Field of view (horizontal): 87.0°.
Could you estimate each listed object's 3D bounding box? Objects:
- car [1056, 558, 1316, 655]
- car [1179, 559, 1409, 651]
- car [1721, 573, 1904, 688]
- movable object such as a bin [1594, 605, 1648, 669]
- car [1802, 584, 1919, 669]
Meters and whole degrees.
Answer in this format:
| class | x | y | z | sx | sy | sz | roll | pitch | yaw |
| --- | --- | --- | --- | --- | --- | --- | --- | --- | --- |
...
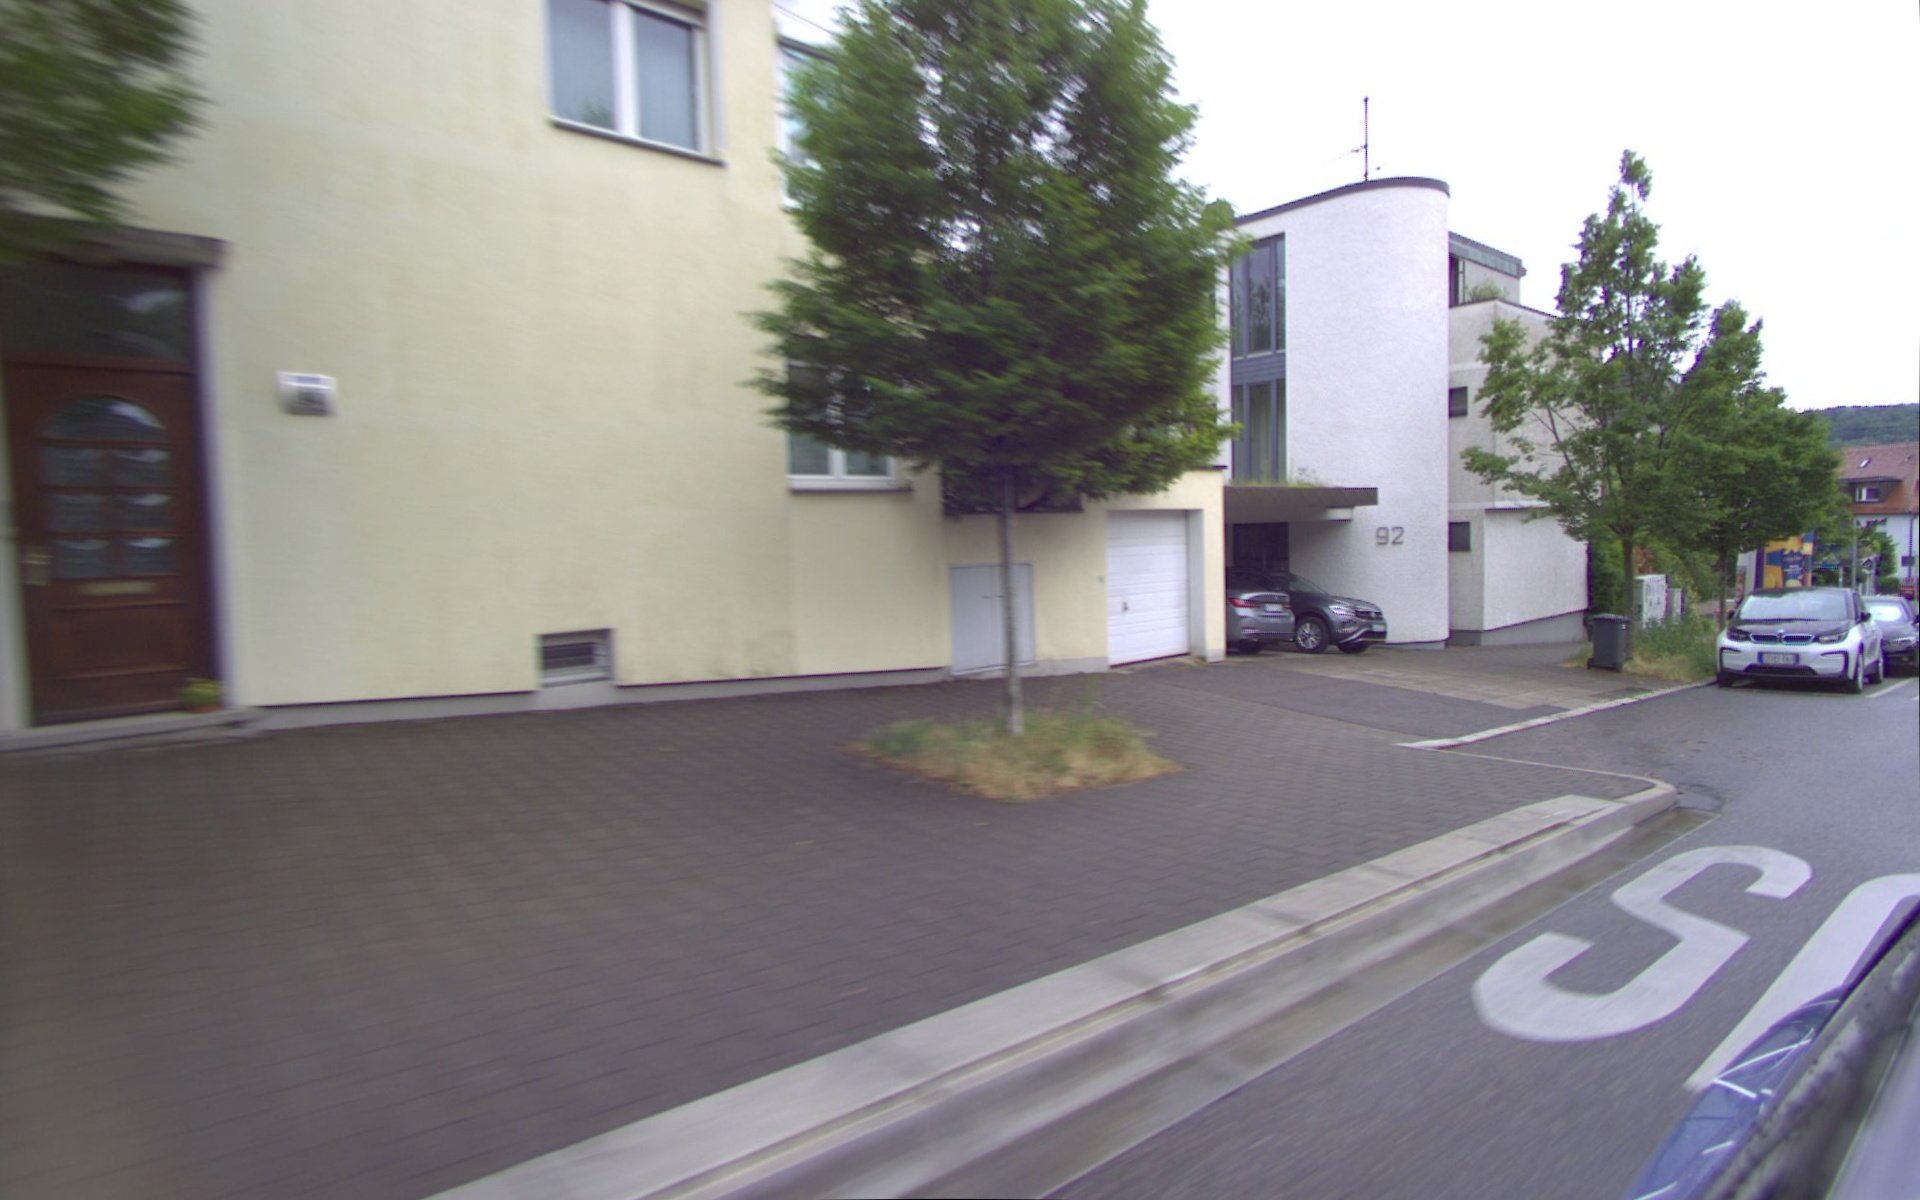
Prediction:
| class | x | y | z | sx | sy | sz | roll | pitch | yaw |
| --- | --- | --- | --- | --- | --- | --- | --- | --- | --- |
| car | 3.849 | 0.090 | 17.892 | 1.797 | 1.499 | 4.307 | 1 | 0 | -39 |
| car | 6.140 | 0.051 | 18.895 | 1.750 | 1.526 | 3.709 | 1 | 1 | -39 |
| car | 13.857 | 0.430 | 16.372 | 4.049 | 1.628 | 1.731 | 0 | 0 | -42 |
| movable object such as a bin | 10.927 | 0.604 | 16.724 | 0.593 | 0.986 | 0.488 | 1 | 5 | -34 |
| car | 17.772 | 0.444 | 19.547 | 4.800 | 1.457 | 1.780 | 0 | 0 | -44 |
